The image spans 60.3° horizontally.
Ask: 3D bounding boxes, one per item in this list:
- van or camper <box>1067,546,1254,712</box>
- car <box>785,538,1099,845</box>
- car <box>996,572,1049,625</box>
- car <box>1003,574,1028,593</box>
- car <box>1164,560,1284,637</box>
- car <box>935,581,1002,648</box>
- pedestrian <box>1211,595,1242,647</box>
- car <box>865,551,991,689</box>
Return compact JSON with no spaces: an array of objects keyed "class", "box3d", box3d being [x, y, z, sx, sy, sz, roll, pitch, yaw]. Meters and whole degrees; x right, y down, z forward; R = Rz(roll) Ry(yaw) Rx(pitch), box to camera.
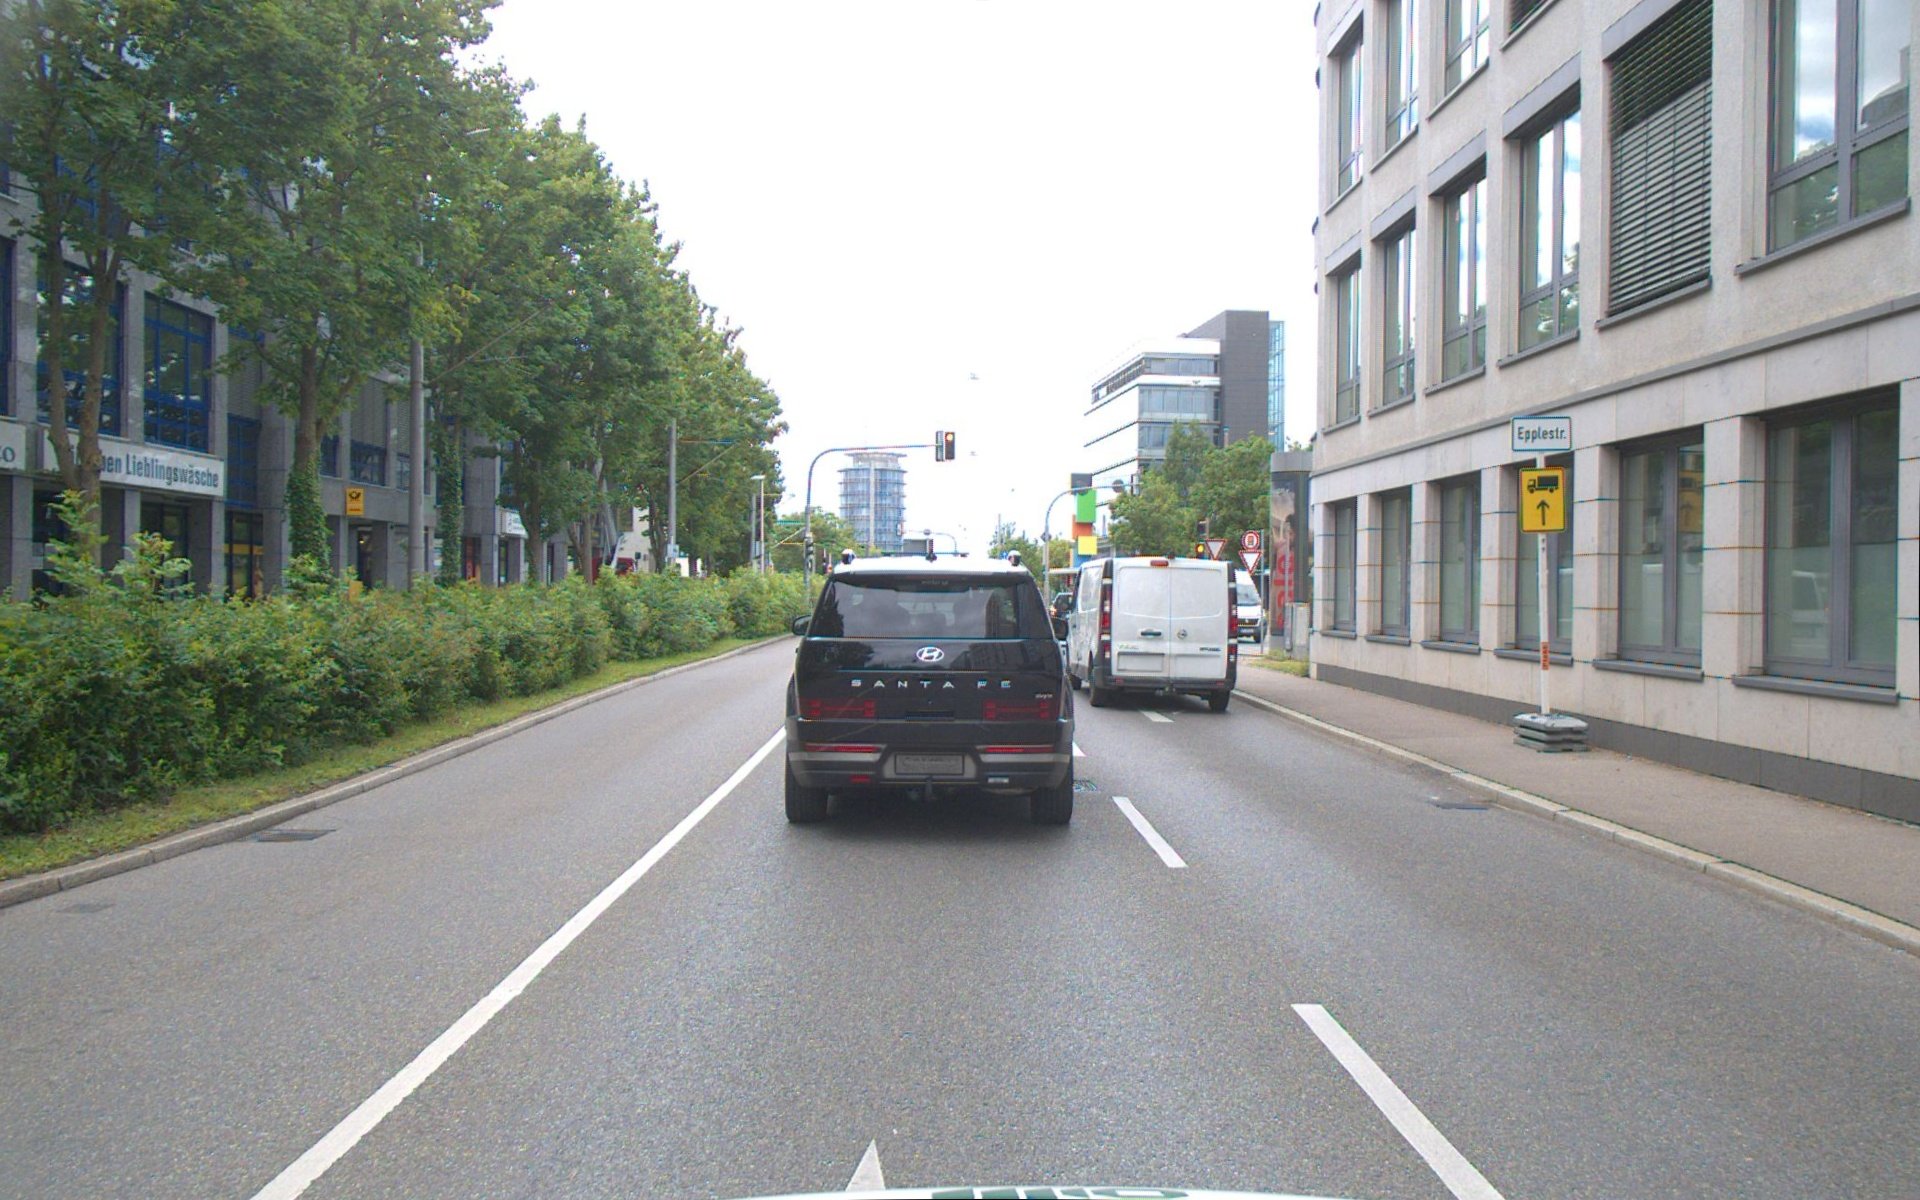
[{"class":"van or camper","box3d":[2.662,0.349,23.061,1.953,2.049,4.652,1,0,-1]},{"class":"car","box3d":[-0.129,0.527,11.618,1.831,1.791,3.879,0,0,-1]},{"class":"car","box3d":[2.471,-0.060,66.409,1.953,2.049,4.000,1,0,0]},{"class":"car","box3d":[5.297,-1.526,157.841,1.954,1.713,3.997,1,0,-3]},{"class":"car","box3d":[9.506,-0.035,60.176,2.258,2.618,5.818,1,0,-13]},{"class":"car","box3d":[0.254,0.390,45.845,1.739,1.747,4.339,1,0,1]},{"class":"pedestrian","box3d":[8.452,0.671,52.459,0.733,1.612,0.565,2,0,-41]},{"class":"car","box3d":[-0.510,0.287,26.614,1.876,2.038,3.879,0,0,-1]}]
